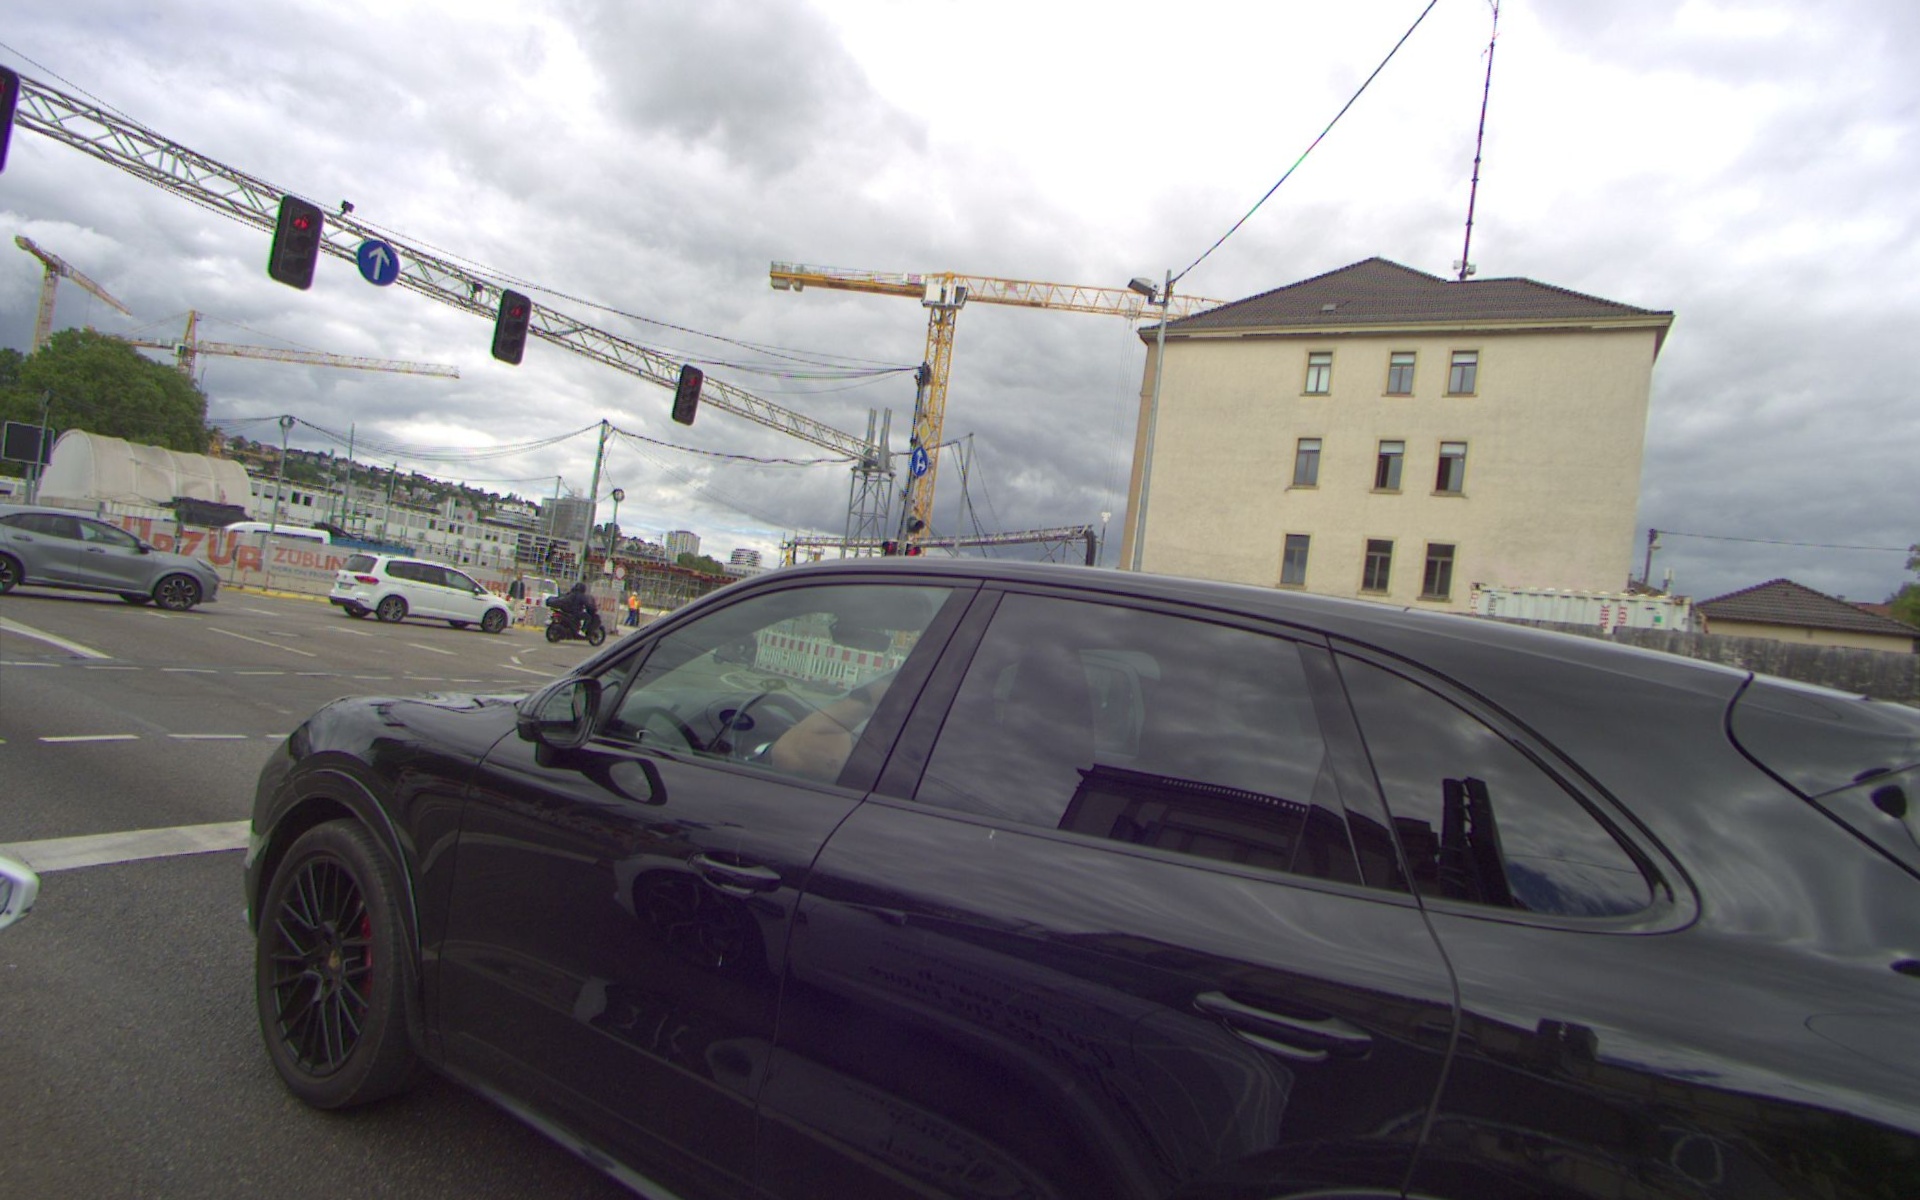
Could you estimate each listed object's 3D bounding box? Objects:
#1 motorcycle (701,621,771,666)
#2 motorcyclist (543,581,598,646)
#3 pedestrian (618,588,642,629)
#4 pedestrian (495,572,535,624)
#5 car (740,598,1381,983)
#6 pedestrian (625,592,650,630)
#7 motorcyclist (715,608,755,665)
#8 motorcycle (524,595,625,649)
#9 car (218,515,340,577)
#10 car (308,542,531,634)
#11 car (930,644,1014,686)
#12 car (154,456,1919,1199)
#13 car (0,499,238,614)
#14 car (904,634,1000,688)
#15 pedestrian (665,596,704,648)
[{"bbox_3d":[-6.831,1.358,30.805,0.641,1.168,2.171,6,-2,32],"label":"motorcycle"},{"bbox_3d":[-10.380,0.367,26.834,0.804,1.589,0.880,6,-1,32],"label":"motorcyclist"},{"bbox_3d":[-17.637,0.445,53.826,0.855,2.037,0.677,6,-1,44],"label":"pedestrian"},{"bbox_3d":[-17.256,-0.071,38.987,1.040,1.869,0.781,8,-1,-42],"label":"pedestrian"},{"bbox_3d":[0.585,1.000,6.554,3.587,1.527,1.825,6,-2,33],"label":"car"},{"bbox_3d":[-17.549,0.594,54.791,0.850,1.938,0.680,7,-1,26],"label":"pedestrian"},{"bbox_3d":[-6.867,1.120,30.725,0.641,1.615,0.787,6,-1,32],"label":"motorcyclist"},{"bbox_3d":[-10.302,0.613,27.007,0.804,1.168,2.427,6,-2,32],"label":"motorcycle"},{"bbox_3d":[-29.521,-2.325,43.643,3.976,2.037,1.976,9,-2,-43],"label":"car"},{"bbox_3d":[-13.983,-0.248,26.355,1.966,1.721,4.681,6,-2,30],"label":"car"},{"bbox_3d":[0.647,3.165,48.337,1.968,1.565,4.112,6,-2,34],"label":"car"},{"bbox_3d":[0.004,0.691,2.717,4.505,1.687,1.996,6,-2,34],"label":"car"},{"bbox_3d":[-15.696,-0.807,17.711,1.966,1.557,4.305,6,-2,29],"label":"car"},{"bbox_3d":[-0.277,2.605,42.239,1.967,1.826,4.279,6,-2,31],"label":"car"},{"bbox_3d":[-11.863,0.949,43.319,1.032,2.037,1.030,6,-1,41],"label":"pedestrian"}]
